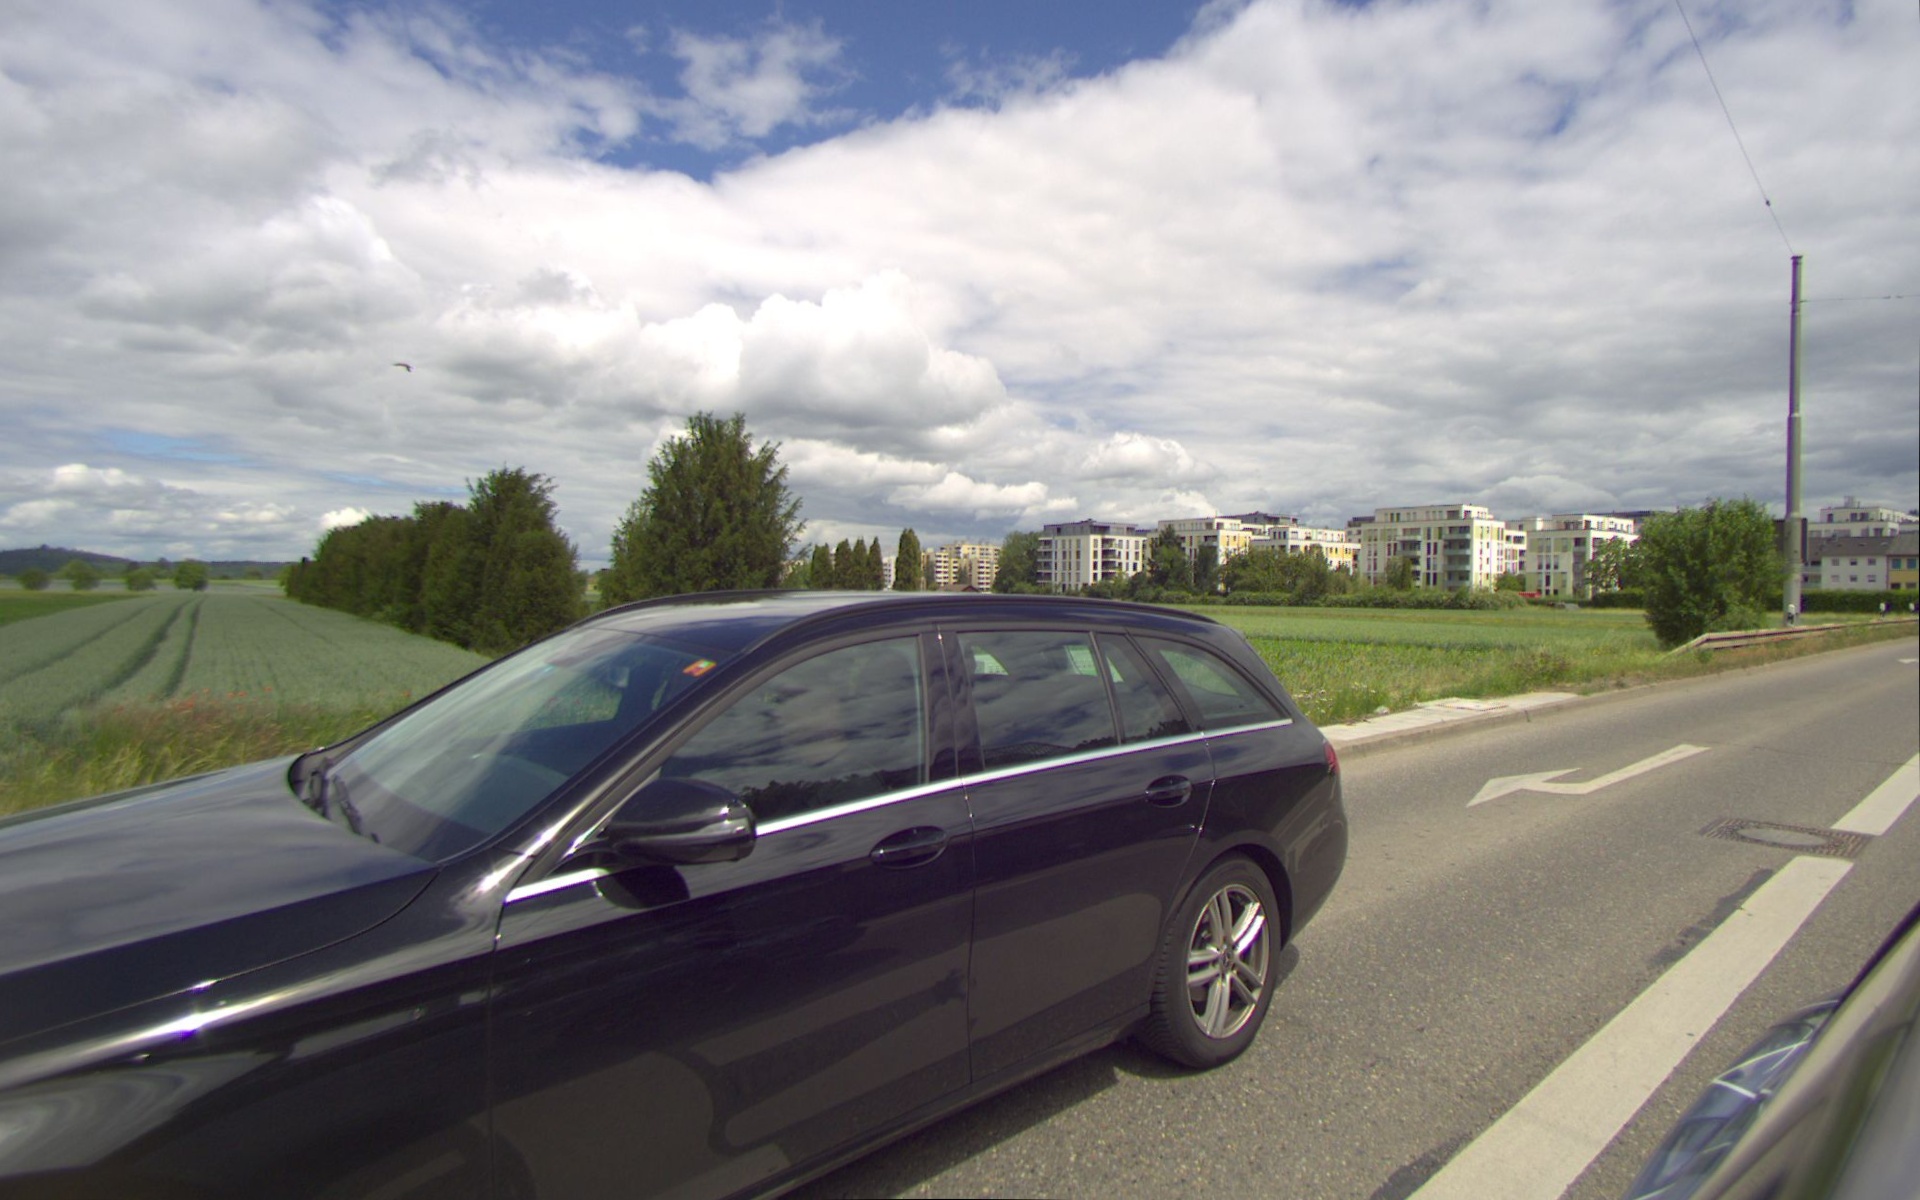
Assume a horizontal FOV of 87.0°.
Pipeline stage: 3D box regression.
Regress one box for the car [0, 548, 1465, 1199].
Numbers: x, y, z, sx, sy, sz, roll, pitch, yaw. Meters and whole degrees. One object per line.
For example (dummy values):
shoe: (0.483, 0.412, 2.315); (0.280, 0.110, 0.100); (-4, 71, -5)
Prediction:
car: (-0.454, 0.641, 3.184); (5.109, 1.459, 1.876); (0, 1, -41)
